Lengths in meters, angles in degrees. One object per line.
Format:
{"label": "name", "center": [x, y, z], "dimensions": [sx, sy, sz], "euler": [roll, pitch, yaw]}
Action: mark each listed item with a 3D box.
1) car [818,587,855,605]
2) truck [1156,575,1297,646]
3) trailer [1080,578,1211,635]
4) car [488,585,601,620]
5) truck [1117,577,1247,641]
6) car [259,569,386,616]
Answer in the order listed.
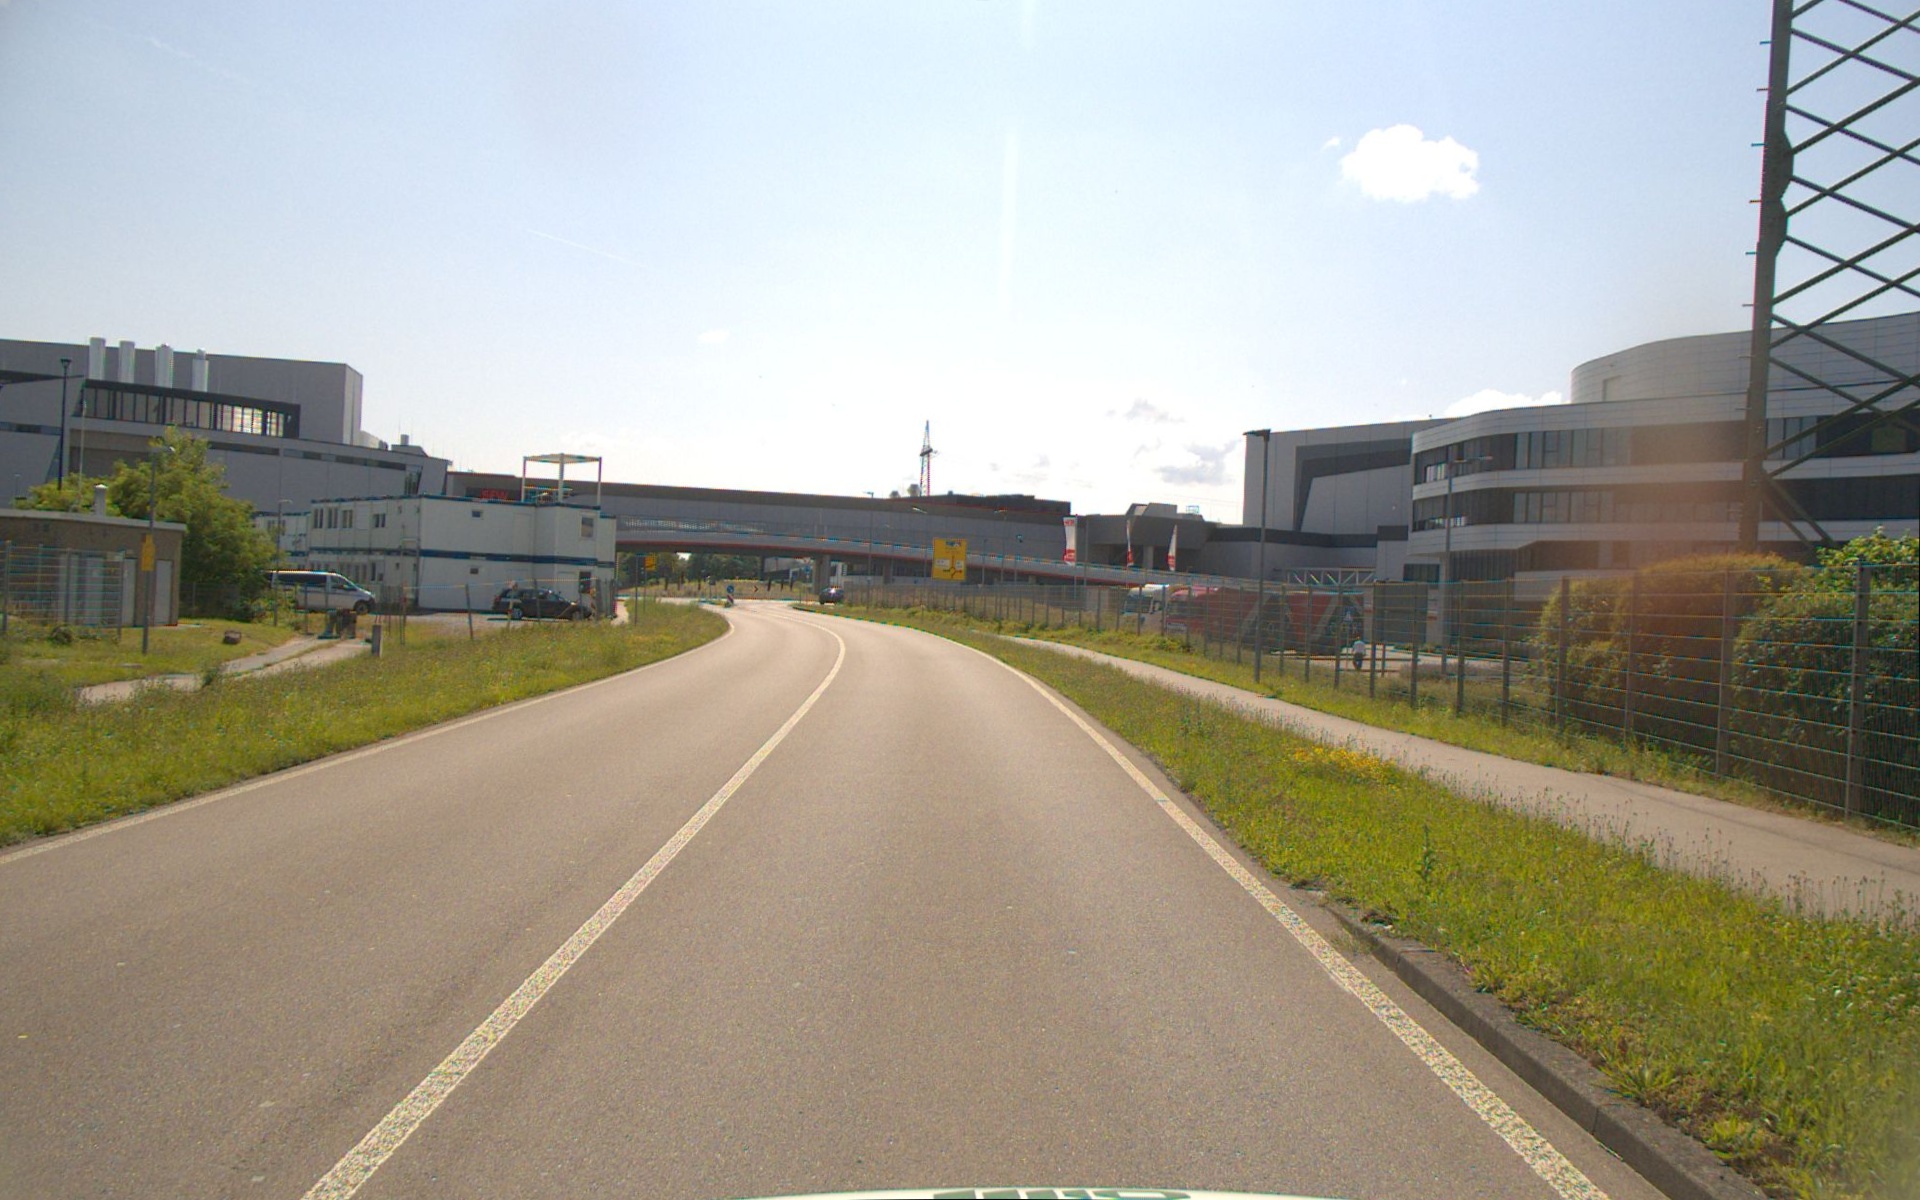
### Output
{"label": "car", "center": [-10.902, -0.334, 146.104], "dimensions": [1.951, 1.571, 4.003], "euler": [1, 0, 15]}
{"label": "truck", "center": [17.119, 0.700, 105.520], "dimensions": [10.891, 4.331, 2.980], "euler": [1, 0, -45]}
{"label": "trailer", "center": [15.539, 0.607, 137.166], "dimensions": [2.721, 4.515, 13.959], "euler": [1, 0, 45]}
{"label": "car", "center": [-19.377, 0.124, 77.114], "dimensions": [4.897, 1.441, 1.988], "euler": [2, 1, -21]}
{"label": "truck", "center": [15.491, 0.650, 114.510], "dimensions": [10.887, 4.245, 2.777], "euler": [1, 0, -44]}
{"label": "car", "center": [-28.863, -0.334, 74.924], "dimensions": [4.975, 1.899, 1.971], "euler": [3, 0, -41]}
